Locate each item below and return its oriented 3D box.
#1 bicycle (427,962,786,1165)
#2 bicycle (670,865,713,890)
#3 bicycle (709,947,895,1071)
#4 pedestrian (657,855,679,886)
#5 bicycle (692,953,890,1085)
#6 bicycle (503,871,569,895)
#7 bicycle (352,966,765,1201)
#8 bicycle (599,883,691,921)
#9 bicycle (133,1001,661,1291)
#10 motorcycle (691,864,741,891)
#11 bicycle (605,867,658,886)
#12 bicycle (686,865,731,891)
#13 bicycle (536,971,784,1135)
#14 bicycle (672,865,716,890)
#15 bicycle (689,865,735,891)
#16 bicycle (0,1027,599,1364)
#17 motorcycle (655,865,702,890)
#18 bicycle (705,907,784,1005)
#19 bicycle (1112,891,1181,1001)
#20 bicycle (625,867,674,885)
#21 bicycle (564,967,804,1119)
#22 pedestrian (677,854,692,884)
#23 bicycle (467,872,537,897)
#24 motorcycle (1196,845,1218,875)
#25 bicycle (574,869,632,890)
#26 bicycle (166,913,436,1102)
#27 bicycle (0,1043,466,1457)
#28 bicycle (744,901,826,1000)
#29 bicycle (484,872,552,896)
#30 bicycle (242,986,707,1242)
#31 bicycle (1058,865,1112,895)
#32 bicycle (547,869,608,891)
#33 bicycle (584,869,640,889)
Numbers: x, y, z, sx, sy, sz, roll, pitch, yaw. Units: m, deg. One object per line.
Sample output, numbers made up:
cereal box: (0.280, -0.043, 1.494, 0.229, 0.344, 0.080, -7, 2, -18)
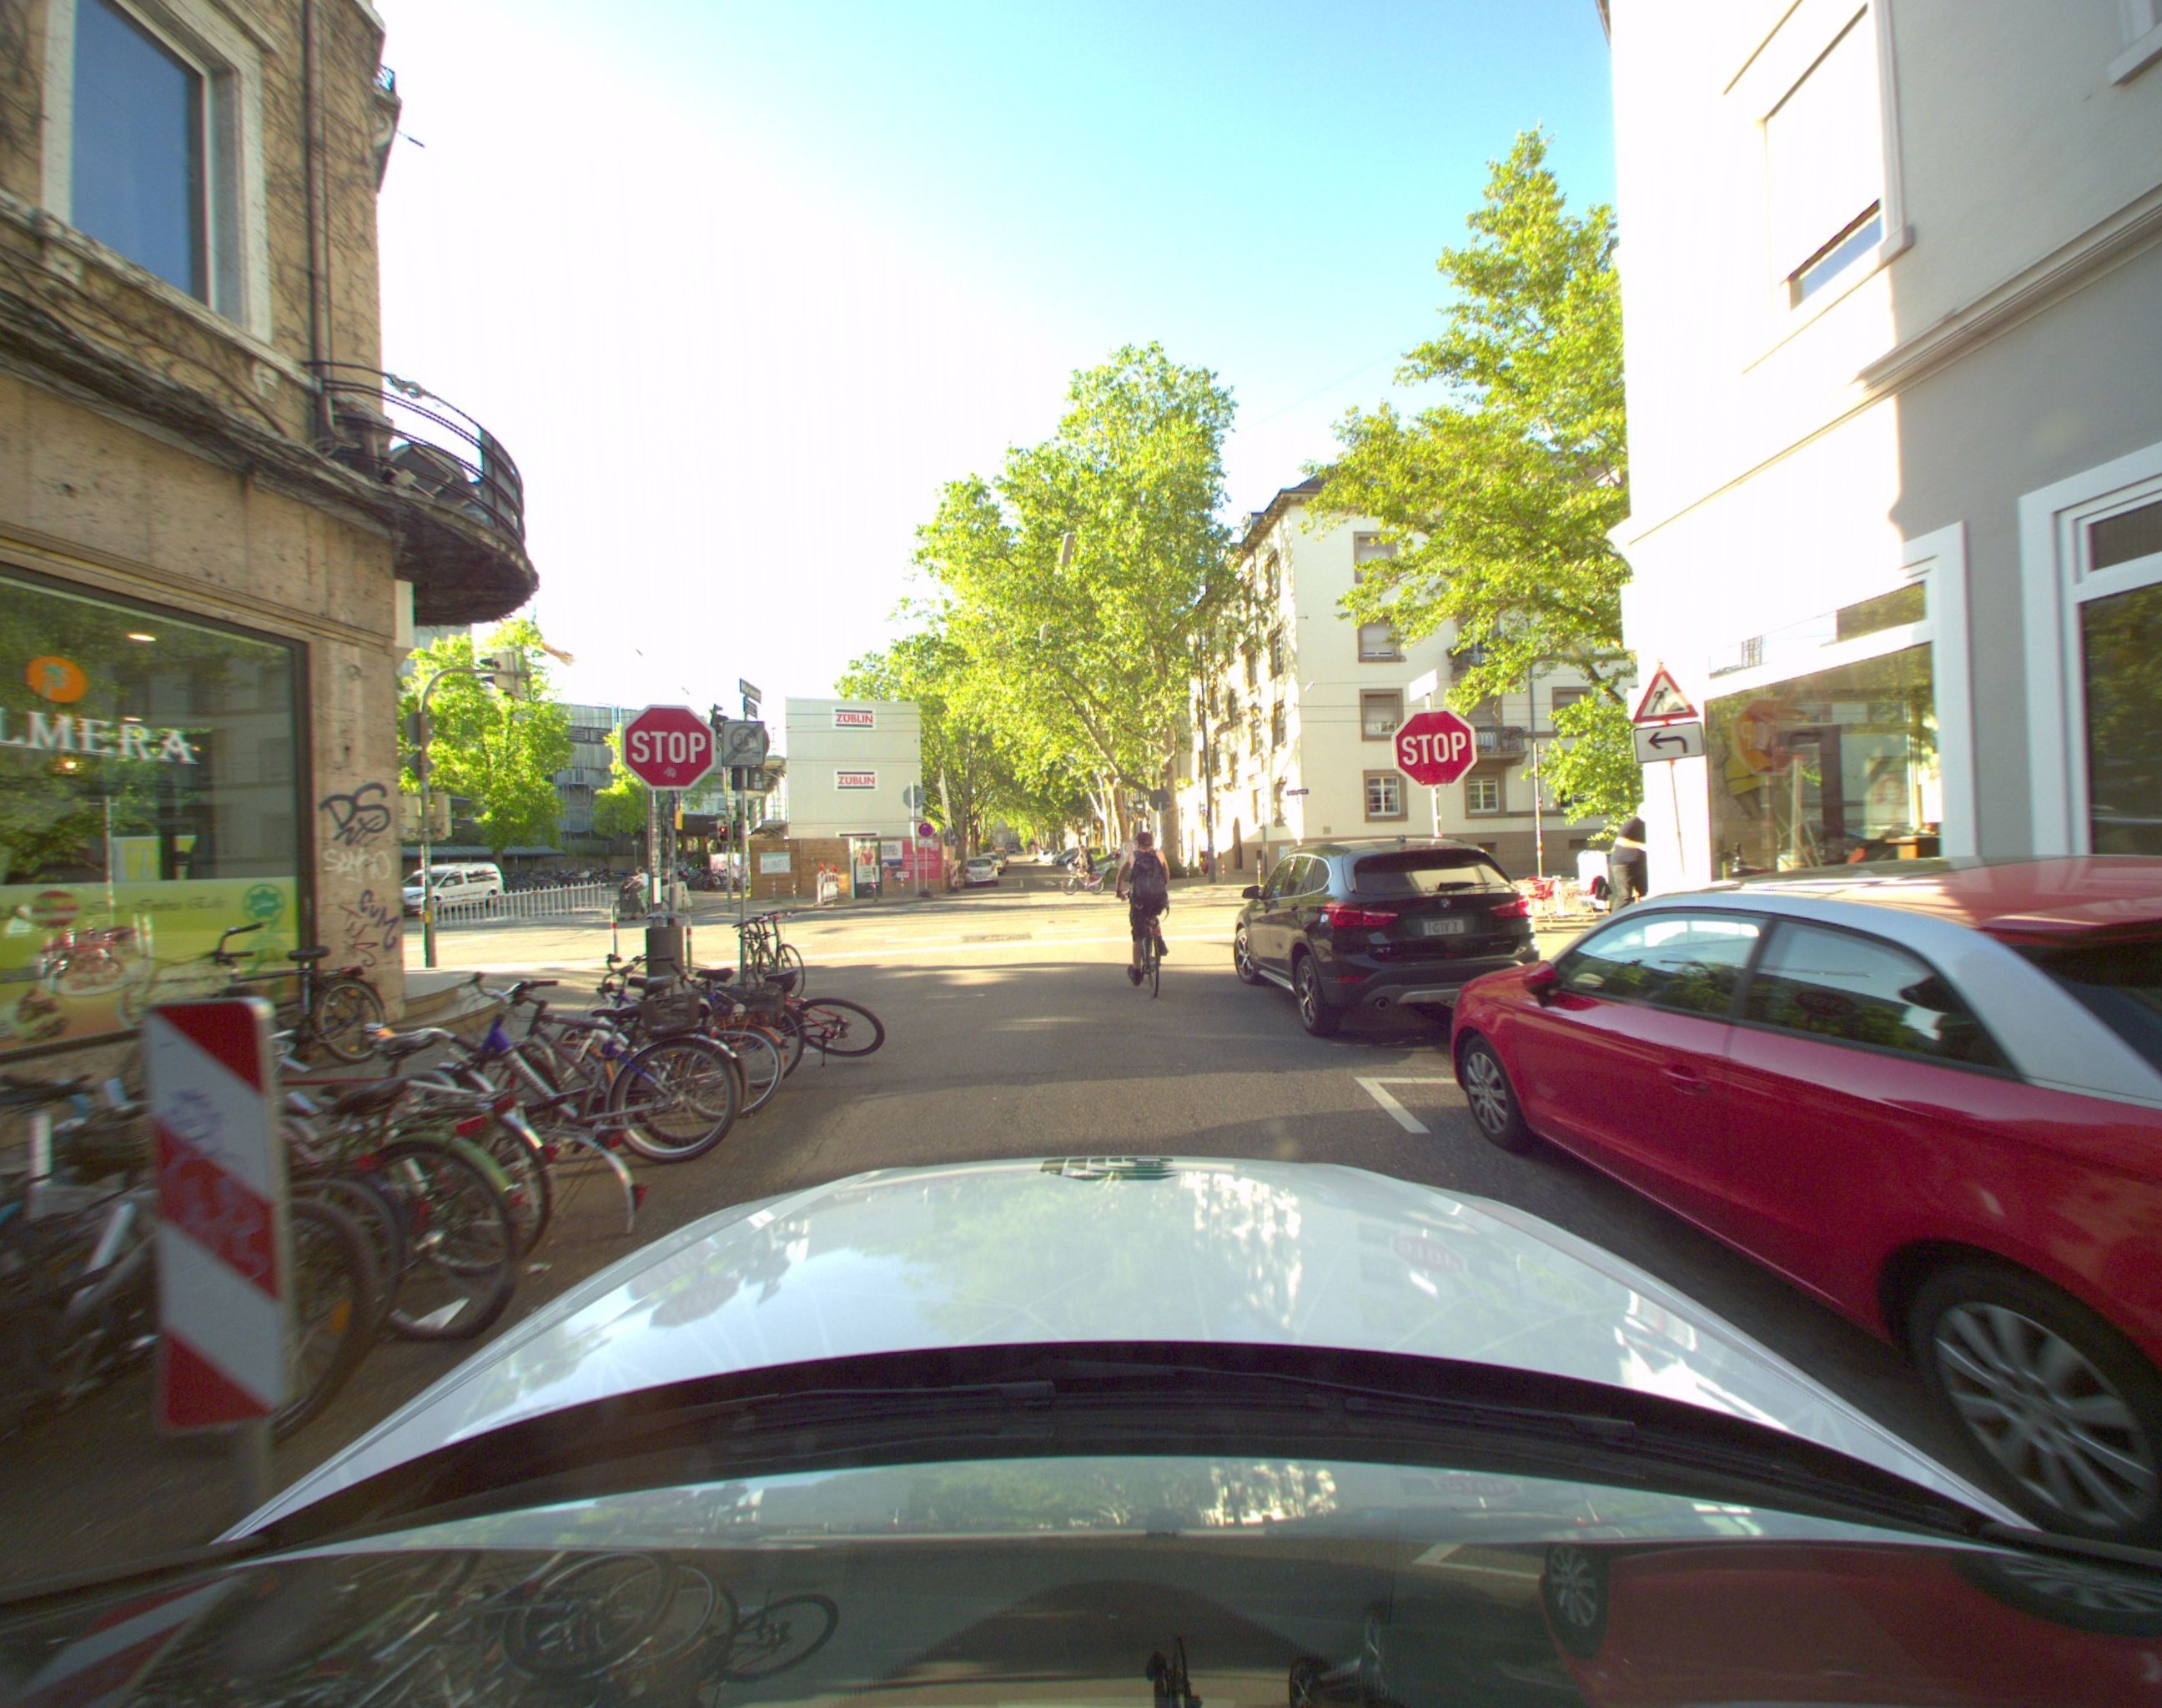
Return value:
bicycle: (-2.717, 1.192, 4.781, 1.762, 0.961, 0.427, -2, 0, -6)
bicycle: (-21.489, 1.299, 44.942, 2.061, 1.257, 0.536, -3, 1, -43)
bicycle: (-2.174, 1.206, 6.441, 1.308, 0.818, 0.370, -2, 0, -8)
pedestrian: (-27.456, 1.094, 54.152, 0.796, 2.013, 0.940, -2, 1, 5)
bicycle: (-2.124, 1.206, 6.063, 1.308, 0.818, 0.354, -2, 0, -8)
bicycle: (-29.930, 1.596, 44.727, 3.065, 1.147, 0.822, -2, 1, 3)
bicycle: (-2.689, 1.165, 4.347, 1.765, 0.961, 0.479, -2, 0, -11)
bicycle: (-14.002, 1.547, 26.213, 2.418, 1.093, 0.894, -2, -1, -5)
bicycle: (-2.723, 1.153, 3.324, 1.759, 0.961, 0.422, -2, 0, 0)
motorcycle: (-18.418, 1.165, 41.154, 2.224, 1.257, 0.536, -3, 1, -43)
bicycle: (-30.194, 1.519, 54.715, 3.065, 1.147, 0.822, -2, 1, 3)
bicycle: (-19.378, 1.234, 42.381, 2.061, 1.257, 0.465, -3, 1, -43)
bicycle: (-2.661, 1.252, 5.235, 1.308, 0.818, 0.380, -4, 0, -8)
bicycle: (-21.140, 1.288, 44.466, 2.061, 1.257, 0.536, -3, 1, -43)
bicycle: (-19.046, 1.223, 42.043, 2.061, 1.257, 0.465, -3, 1, -43)
bicycle: (-2.738, 1.174, 2.901, 1.759, 0.961, 0.405, -2, 0, 0)
motorcycle: (-22.510, 1.308, 45.579, 2.224, 1.257, 0.536, -3, 1, -43)
bicycle: (-4.264, 1.234, 10.253, 0.453, 1.045, 1.645, -2, 0, -39)
bicycle: (0.704, 0.972, 9.201, 0.687, 1.016, 1.908, -1, 0, 2)
bicycle: (-30.530, 1.550, 57.641, 3.065, 1.147, 0.822, -2, 1, 3)
bicycle: (-2.693, 1.278, 5.610, 1.386, 0.818, 0.361, -4, 0, -9)
pedestrian: (-26.960, 1.030, 55.349, 0.805, 2.013, 1.021, -2, 1, -29)
bicycle: (-30.130, 1.584, 42.387, 3.065, 1.147, 0.822, -2, 1, 3)
motorcycle: (5.818, 0.278, 37.611, 0.513, 1.332, 1.759, -2, 0, -7)
bicycle: (-29.502, 1.570, 50.278, 3.065, 1.147, 0.822, -2, 1, 3)
bicycle: (-5.636, 1.040, 6.022, 0.396, 1.092, 1.592, -2, -1, 2)
bicycle: (-2.934, 1.154, 2.461, 1.758, 0.989, 0.463, -2, 0, 0)
bicycle: (-3.852, 1.200, 10.526, 0.460, 1.045, 1.668, -2, 2, -39)
bicycle: (-30.073, 1.592, 43.537, 3.065, 1.147, 0.822, -2, 1, 3)
bicycle: (-2.717, 1.158, 3.736, 1.759, 0.961, 0.443, -2, 0, 0)
bicycle: (0.159, 0.959, 30.787, 1.924, 1.018, 0.677, -2, 0, -23)
bicycle: (-29.728, 1.557, 48.105, 3.065, 1.147, 0.822, -2, 1, 3)
bicycle: (-29.491, 1.577, 51.215, 3.065, 1.147, 0.822, -2, 1, 3)
